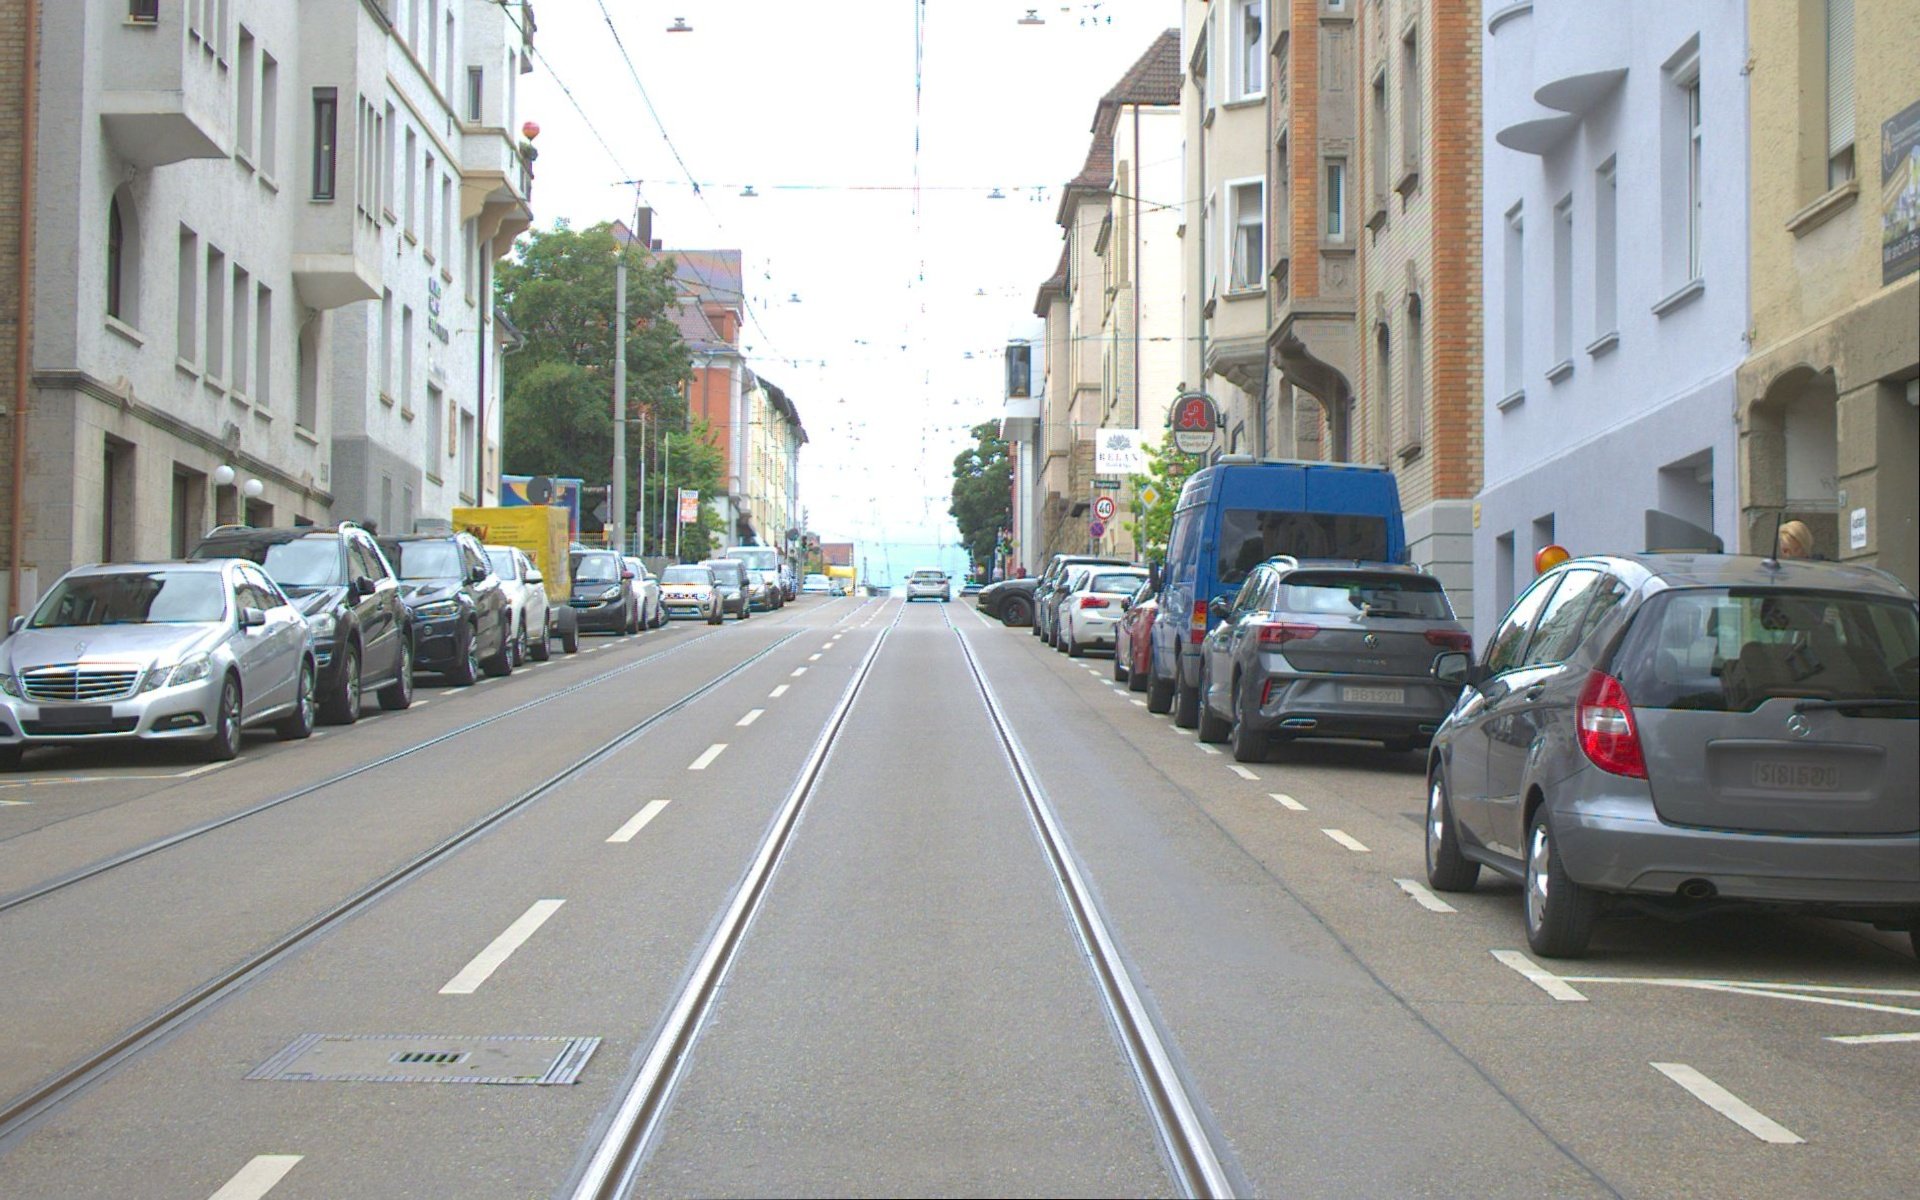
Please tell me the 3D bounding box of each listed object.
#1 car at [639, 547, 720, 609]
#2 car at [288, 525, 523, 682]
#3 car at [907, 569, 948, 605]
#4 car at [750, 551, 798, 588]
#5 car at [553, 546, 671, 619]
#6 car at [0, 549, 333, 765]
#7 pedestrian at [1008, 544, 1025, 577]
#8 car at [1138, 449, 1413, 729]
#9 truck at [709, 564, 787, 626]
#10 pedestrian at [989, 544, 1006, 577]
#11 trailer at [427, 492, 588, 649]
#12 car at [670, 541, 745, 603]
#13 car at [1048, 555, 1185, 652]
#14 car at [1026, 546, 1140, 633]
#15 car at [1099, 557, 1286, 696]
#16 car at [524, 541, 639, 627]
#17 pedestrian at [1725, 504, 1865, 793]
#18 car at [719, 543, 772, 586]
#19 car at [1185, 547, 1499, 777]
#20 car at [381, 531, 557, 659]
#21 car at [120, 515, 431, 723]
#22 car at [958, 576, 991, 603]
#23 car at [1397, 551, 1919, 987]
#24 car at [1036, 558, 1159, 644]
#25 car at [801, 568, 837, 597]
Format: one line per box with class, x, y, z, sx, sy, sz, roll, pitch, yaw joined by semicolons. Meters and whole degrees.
car;-7.259;-0.574;89.341;1.697;1.551;3.850;1;1;1
car;-6.301;-0.011;39.575;1.873;1.658;4.892;-1;1;0
car;-1.417;-0.566;148.070;1.672;1.508;3.798;1;1;-2
car;-7.615;-1.248;140.704;1.712;1.441;4.290;1;1;0
car;-6.720;-0.356;66.781;1.780;1.353;4.291;1;1;1
car;-6.122;0.360;26.065;1.827;1.424;4.839;-1;1;0
pedestrian;2.872;-1.992;174.448;0.791;1.661;0.798;1;0;2
car;2.847;-0.105;32.122;1.993;2.368;5.056;1;0;-1
truck;-7.706;-0.219;125.694;2.280;2.180;8.025;1;1;0
pedestrian;1.915;-2.003;174.371;0.791;1.661;0.798;1;0;2
trailer;-6.526;-0.458;49.970;1.748;2.148;4.071;-1;1;0
car;-7.363;-0.828;100.626;1.744;1.730;4.519;-1;1;1
car;2.416;0.030;53.977;1.750;1.386;4.308;3;1;-2
car;2.311;-0.223;65.608;1.735;1.532;4.575;3;1;-3
car;2.700;0.271;40.891;1.779;1.470;4.590;3;1;-1
car;-6.739;-0.294;61.471;1.697;1.463;3.023;-1;1;0
pedestrian;4.999;0.294;20.595;0.540;1.676;0.516;-4;-2;-9
car;-7.393;-1.242;118.926;1.697;1.428;4.482;-1;1;-2
car;2.890;0.423;26.833;1.779;1.525;4.192;4;1;-1
car;-6.492;-0.110;45.830;1.697;1.588;4.268;-1;1;0
car;-6.157;0.115;31.474;1.827;1.712;4.913;-1;1;0
car;0.882;-0.656;212.011;1.993;1.558;4.290;1;1;0
car;3.079;0.606;14.708;1.827;1.514;4.028;3;1;0
car;2.393;-0.013;60.781;1.779;1.386;4.692;3;1;-2
car;-7.949;-0.988;193.824;1.855;1.601;4.297;1;1;-1
